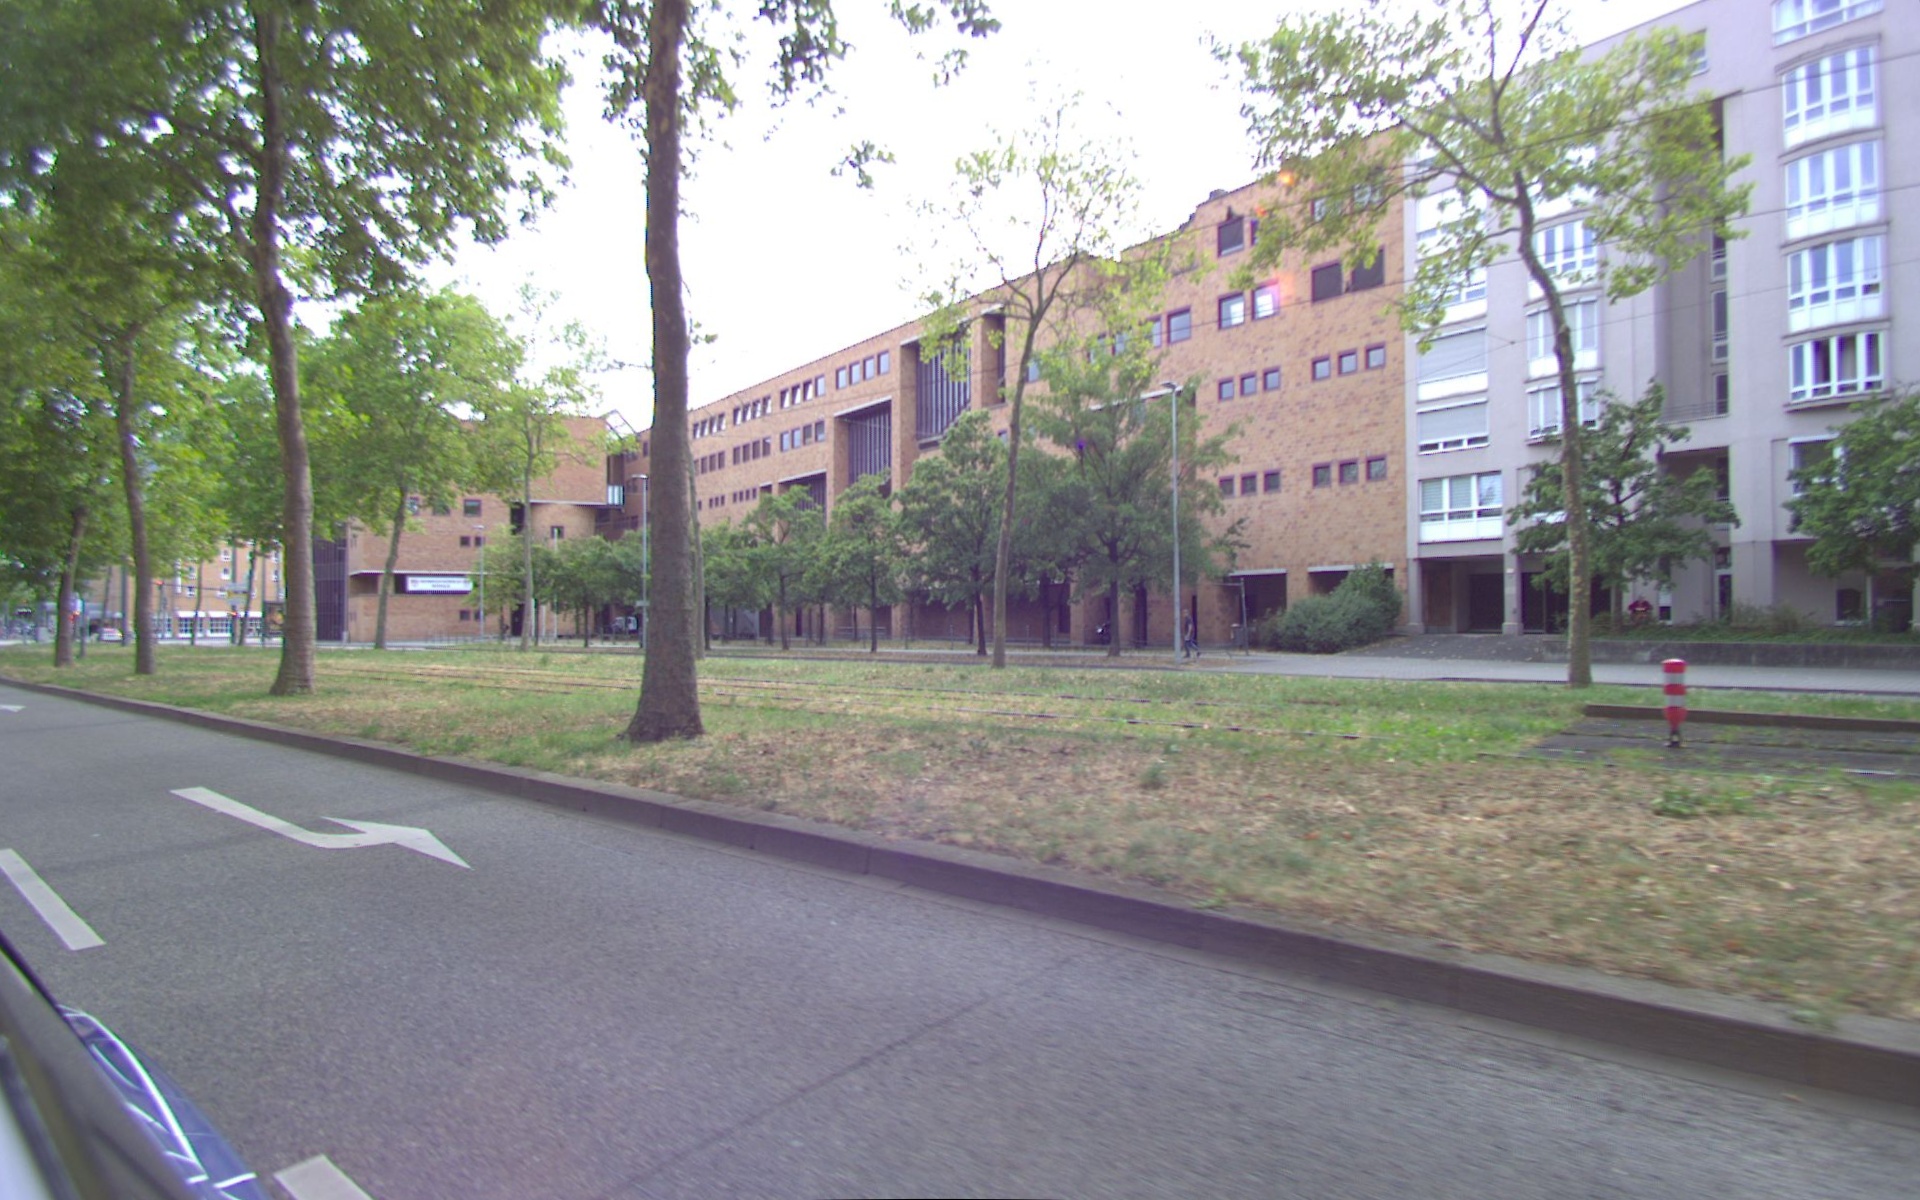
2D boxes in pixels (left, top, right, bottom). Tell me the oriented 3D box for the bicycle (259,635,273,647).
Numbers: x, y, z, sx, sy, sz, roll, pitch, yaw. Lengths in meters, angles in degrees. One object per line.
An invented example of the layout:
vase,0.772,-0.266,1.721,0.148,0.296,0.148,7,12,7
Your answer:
bicycle,-67.832,4.018,98.936,2.093,1.092,0.660,-2,-2,43

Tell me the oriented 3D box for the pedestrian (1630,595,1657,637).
pedestrian,21.897,0.515,32.423,0.451,1.333,0.555,1,-2,-38

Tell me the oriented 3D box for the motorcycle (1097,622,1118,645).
motorcycle,8.081,1.817,55.381,0.790,1.200,2.185,-1,-2,17

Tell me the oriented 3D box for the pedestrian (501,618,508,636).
pedestrian,-41.070,2.431,91.271,0.500,1.543,0.521,0,-2,-35

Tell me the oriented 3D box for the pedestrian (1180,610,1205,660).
pedestrian,8.070,1.221,35.139,0.626,1.718,0.546,-2,-2,45

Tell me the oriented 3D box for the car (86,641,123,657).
car,-78.733,4.479,93.123,4.653,1.432,1.766,-2,-2,39

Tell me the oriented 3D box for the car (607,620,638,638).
car,-35.501,3.088,106.468,1.868,1.821,4.008,1,-2,-38

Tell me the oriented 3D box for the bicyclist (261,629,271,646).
bicyclist,-67.830,3.642,98.935,0.984,1.603,0.657,-3,-2,43
